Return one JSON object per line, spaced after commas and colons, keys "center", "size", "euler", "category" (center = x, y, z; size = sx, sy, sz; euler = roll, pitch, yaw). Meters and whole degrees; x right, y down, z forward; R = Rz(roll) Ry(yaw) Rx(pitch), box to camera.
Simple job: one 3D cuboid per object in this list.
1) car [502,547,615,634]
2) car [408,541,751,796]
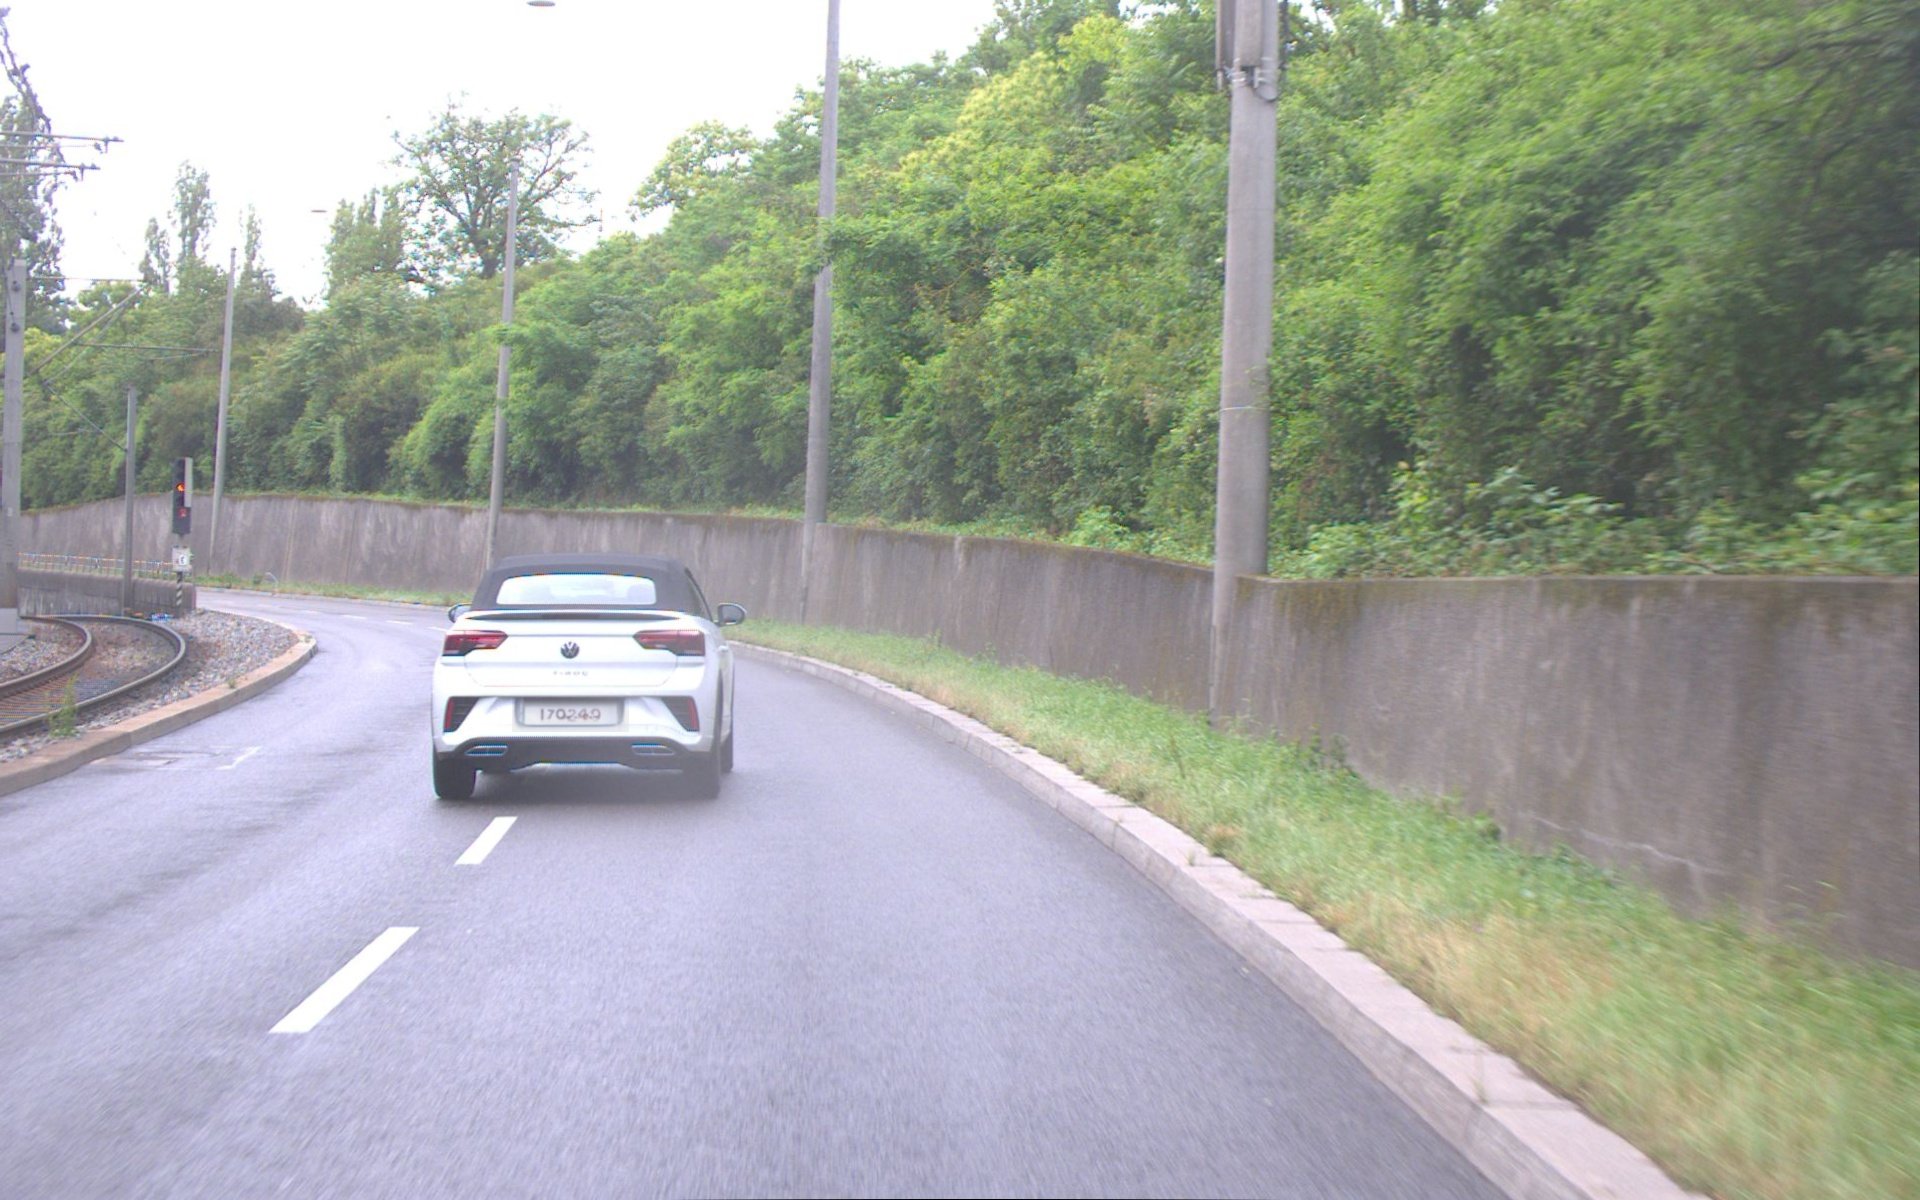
{"center": [-7.295, -0.194, 62.159], "size": [1.763, 1.496, 4.001], "euler": [1, 1, -10], "category": "car"}
{"center": [-2.405, 0.392, 22.764], "size": [1.871, 1.519, 4.540], "euler": [0, 0, -1], "category": "car"}
